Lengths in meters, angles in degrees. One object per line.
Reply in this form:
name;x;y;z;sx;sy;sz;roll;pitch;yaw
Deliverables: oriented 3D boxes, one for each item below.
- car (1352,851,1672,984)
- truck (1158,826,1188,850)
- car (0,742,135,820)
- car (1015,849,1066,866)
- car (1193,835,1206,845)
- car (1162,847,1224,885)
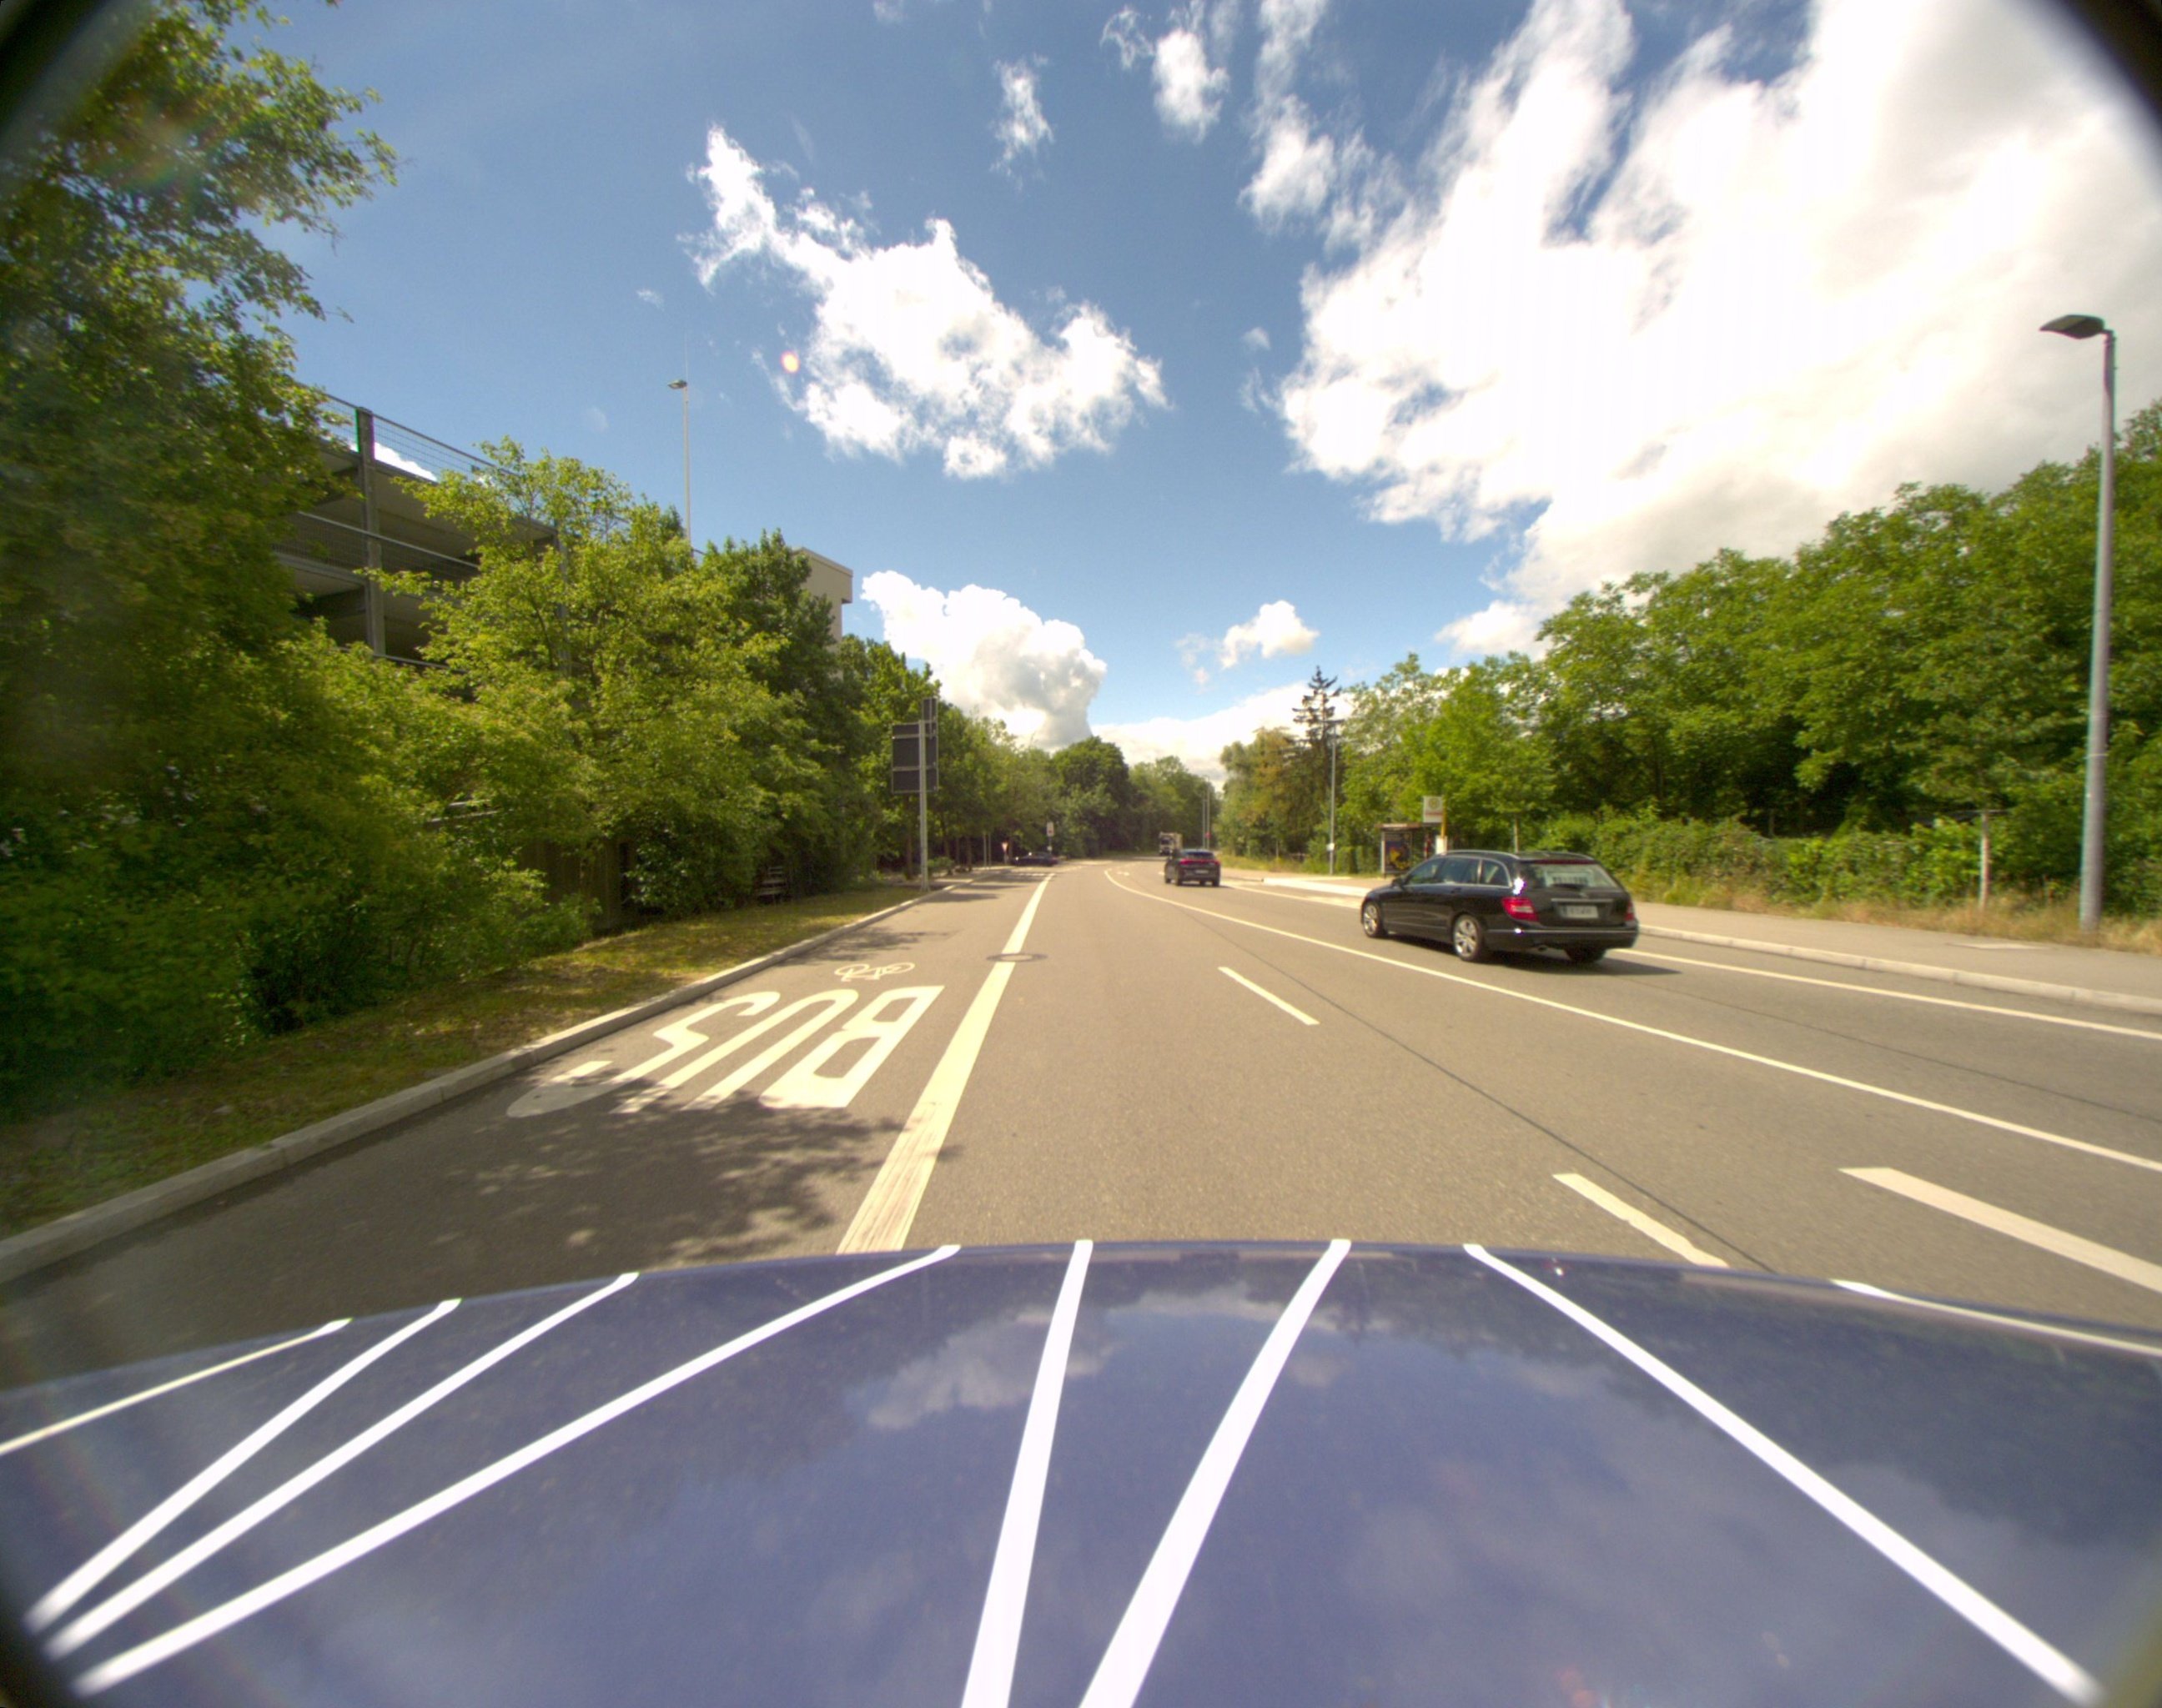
car;5.631;0.707;10.710;1.771;1.434;4.374;0;1;-4
truck;15.870;-2.789;130.185;3.236;3.839;9.885;2;2;18
car;-20.180;-1.339;14.395;3.702;1.318;1.836;2;2;23
car;-3.438;0.281;64.576;3.995;1.293;1.742;1;1;21
car;24.744;-2.886;158.904;1.996;2.002;4.004;2;2;18
car;4.824;0.480;33.283;1.827;1.548;4.627;1;0;-2
